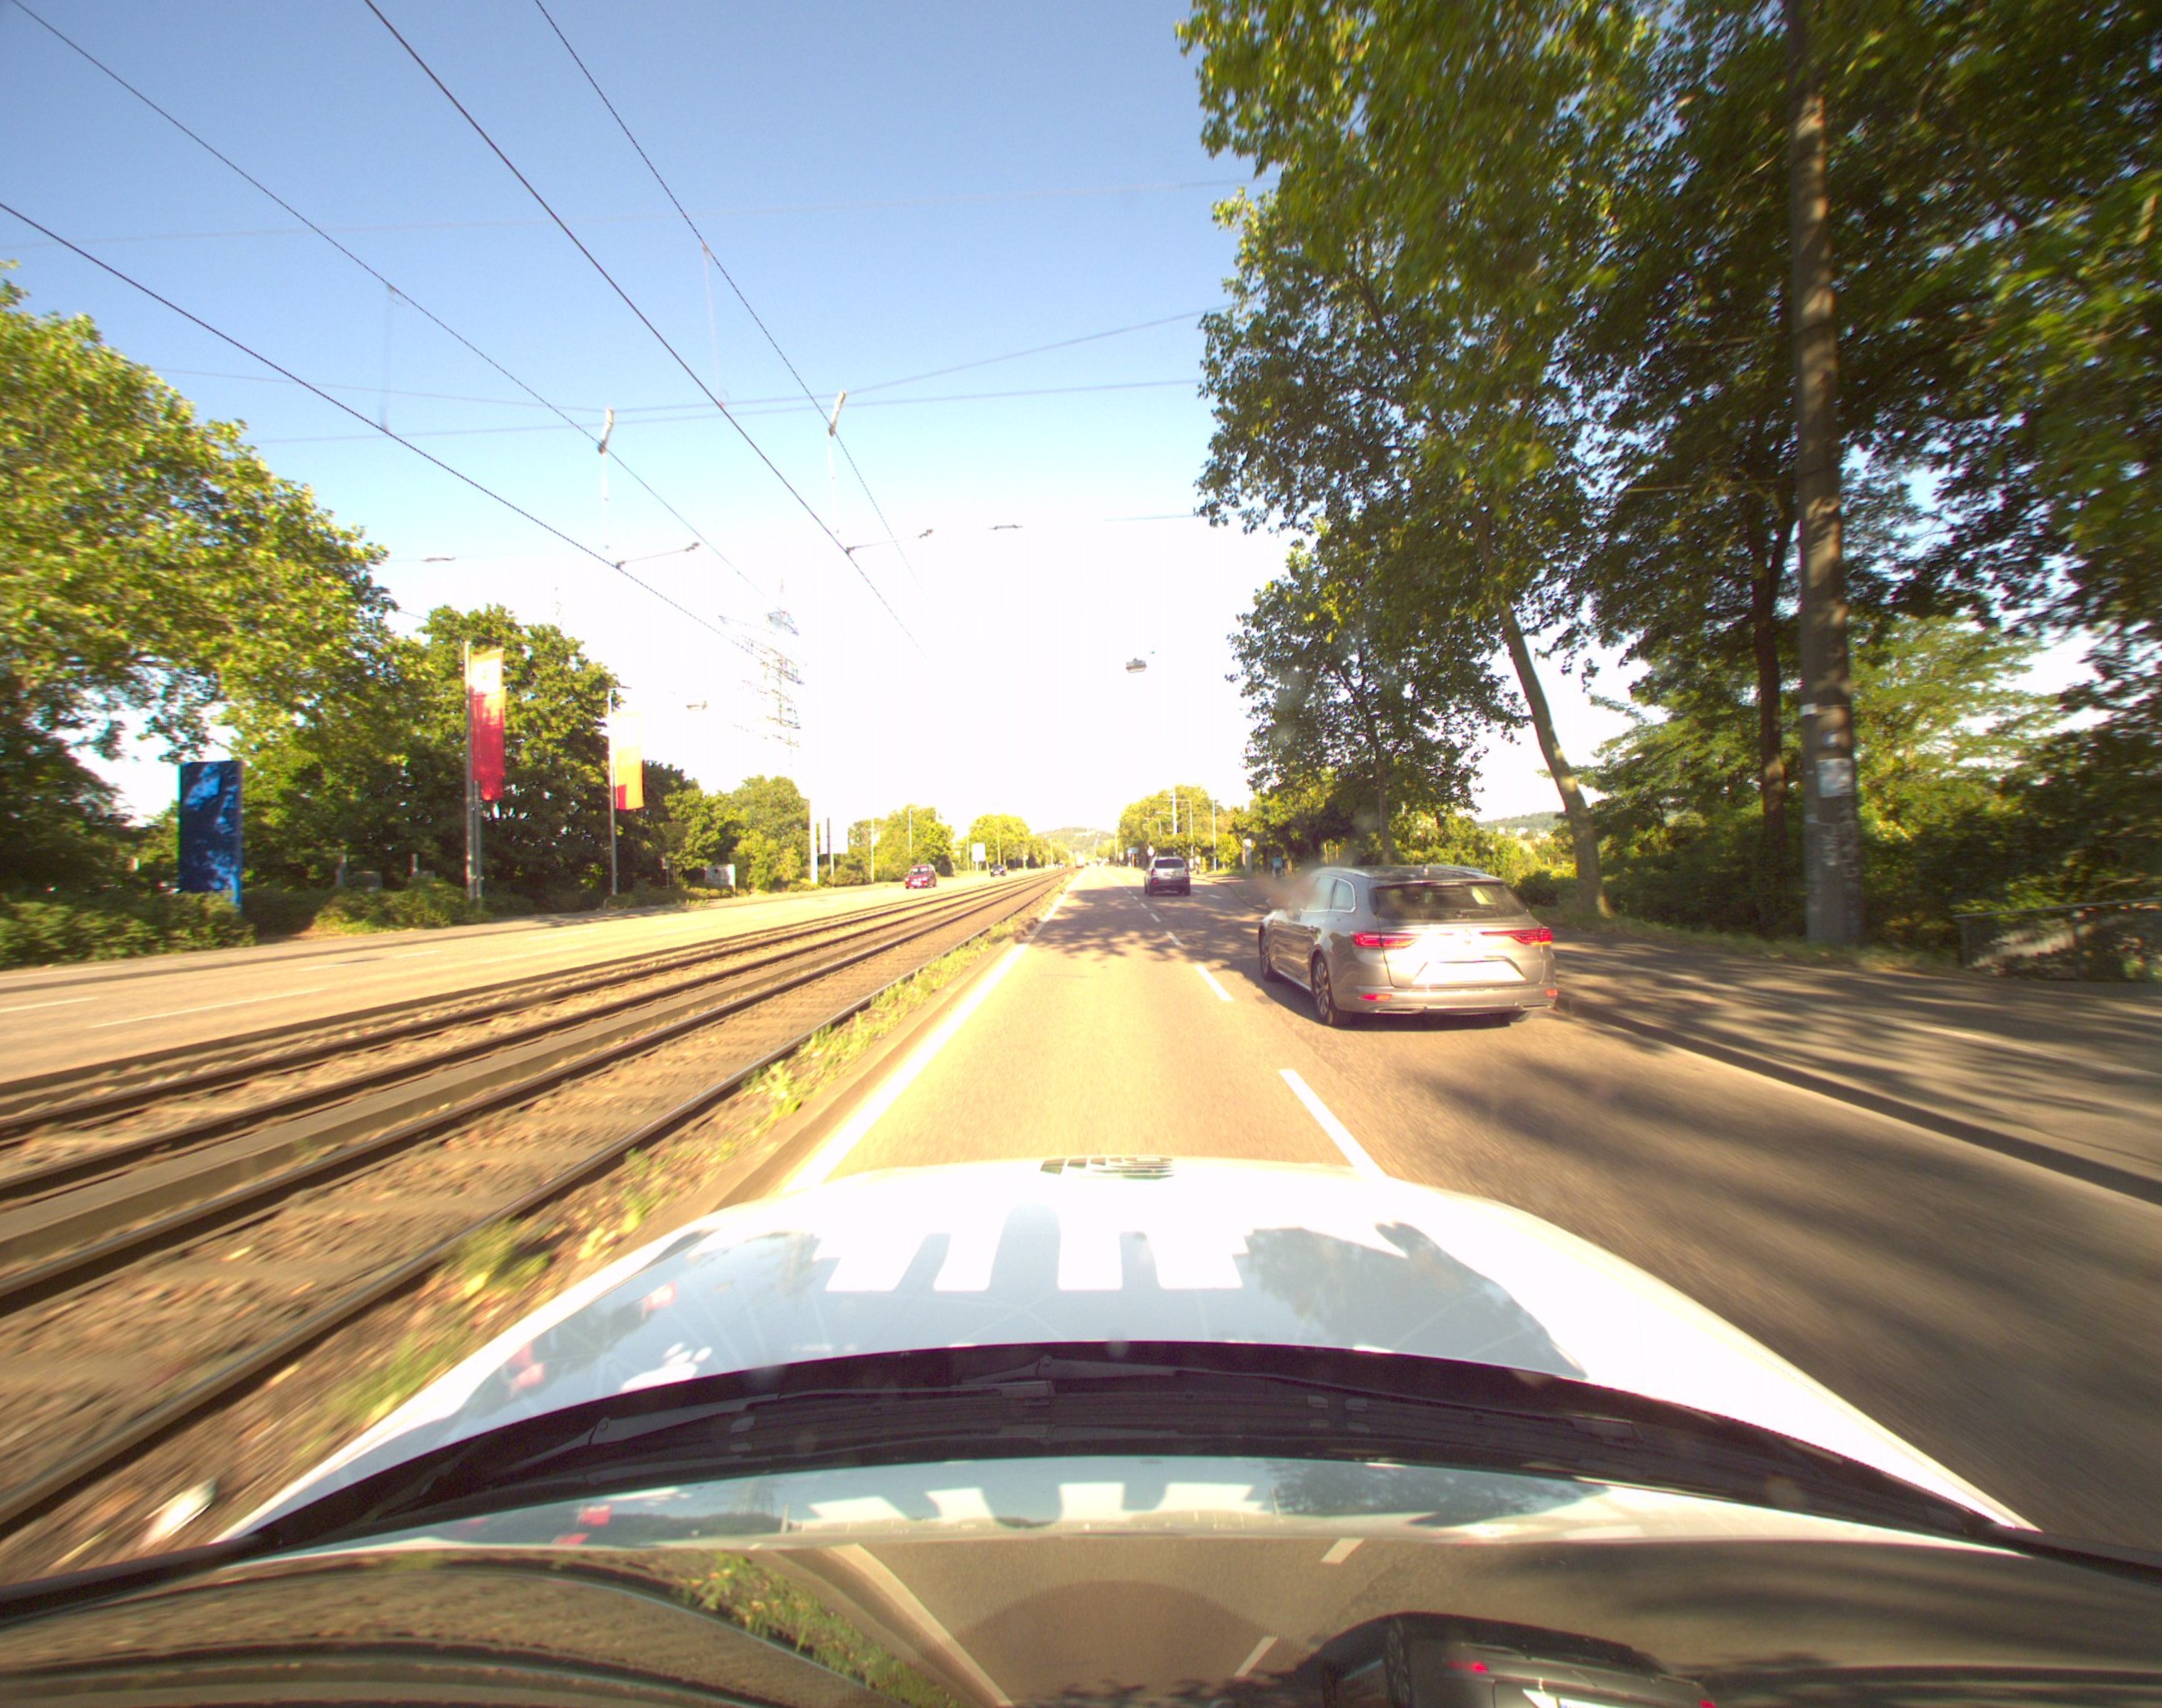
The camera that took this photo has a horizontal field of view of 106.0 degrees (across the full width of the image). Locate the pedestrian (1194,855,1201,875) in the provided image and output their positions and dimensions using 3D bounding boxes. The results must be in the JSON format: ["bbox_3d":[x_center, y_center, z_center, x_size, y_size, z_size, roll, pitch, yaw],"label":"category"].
[{"bbox_3d":[10.981,1.026,76.814,0.623,1.871,0.624,0,1,1],"label":"pedestrian"}]

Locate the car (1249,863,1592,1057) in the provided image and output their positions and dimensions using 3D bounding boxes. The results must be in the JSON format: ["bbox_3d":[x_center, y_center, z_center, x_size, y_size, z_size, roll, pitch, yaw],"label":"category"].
[{"bbox_3d":[3.139,0.873,8.721,1.858,1.467,4.668,-2,-1,2],"label":"car"}]

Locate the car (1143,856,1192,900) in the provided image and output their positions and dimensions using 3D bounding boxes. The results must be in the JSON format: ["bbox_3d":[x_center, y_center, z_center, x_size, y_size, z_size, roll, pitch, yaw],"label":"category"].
[{"bbox_3d":[3.826,1.025,36.730,1.876,1.795,4.001,0,1,1],"label":"car"}]

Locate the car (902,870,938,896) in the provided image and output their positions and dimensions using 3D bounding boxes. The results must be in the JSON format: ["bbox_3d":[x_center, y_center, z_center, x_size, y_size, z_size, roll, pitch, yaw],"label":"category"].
[{"bbox_3d":[-12.338,2.216,62.669,1.856,1.720,4.002,-2,1,1],"label":"car"}]

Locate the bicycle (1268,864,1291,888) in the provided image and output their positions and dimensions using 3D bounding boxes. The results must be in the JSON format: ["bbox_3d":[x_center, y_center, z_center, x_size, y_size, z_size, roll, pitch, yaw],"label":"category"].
[{"bbox_3d":[10.033,1.091,41.277,0.791,1.094,1.897,-4,0,5],"label":"bicycle"}]

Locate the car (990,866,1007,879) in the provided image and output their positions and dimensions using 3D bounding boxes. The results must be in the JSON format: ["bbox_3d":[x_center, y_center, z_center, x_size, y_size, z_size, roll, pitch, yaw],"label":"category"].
[{"bbox_3d":[-11.476,2.551,113.622,1.900,1.643,3.999,0,1,-1],"label":"car"}]

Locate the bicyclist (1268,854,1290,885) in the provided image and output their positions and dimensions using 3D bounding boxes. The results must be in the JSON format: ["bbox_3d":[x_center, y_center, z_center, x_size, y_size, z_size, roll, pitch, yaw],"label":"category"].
[{"bbox_3d":[10.004,0.791,41.164,0.791,1.460,1.114,-4,0,5],"label":"bicyclist"}]
